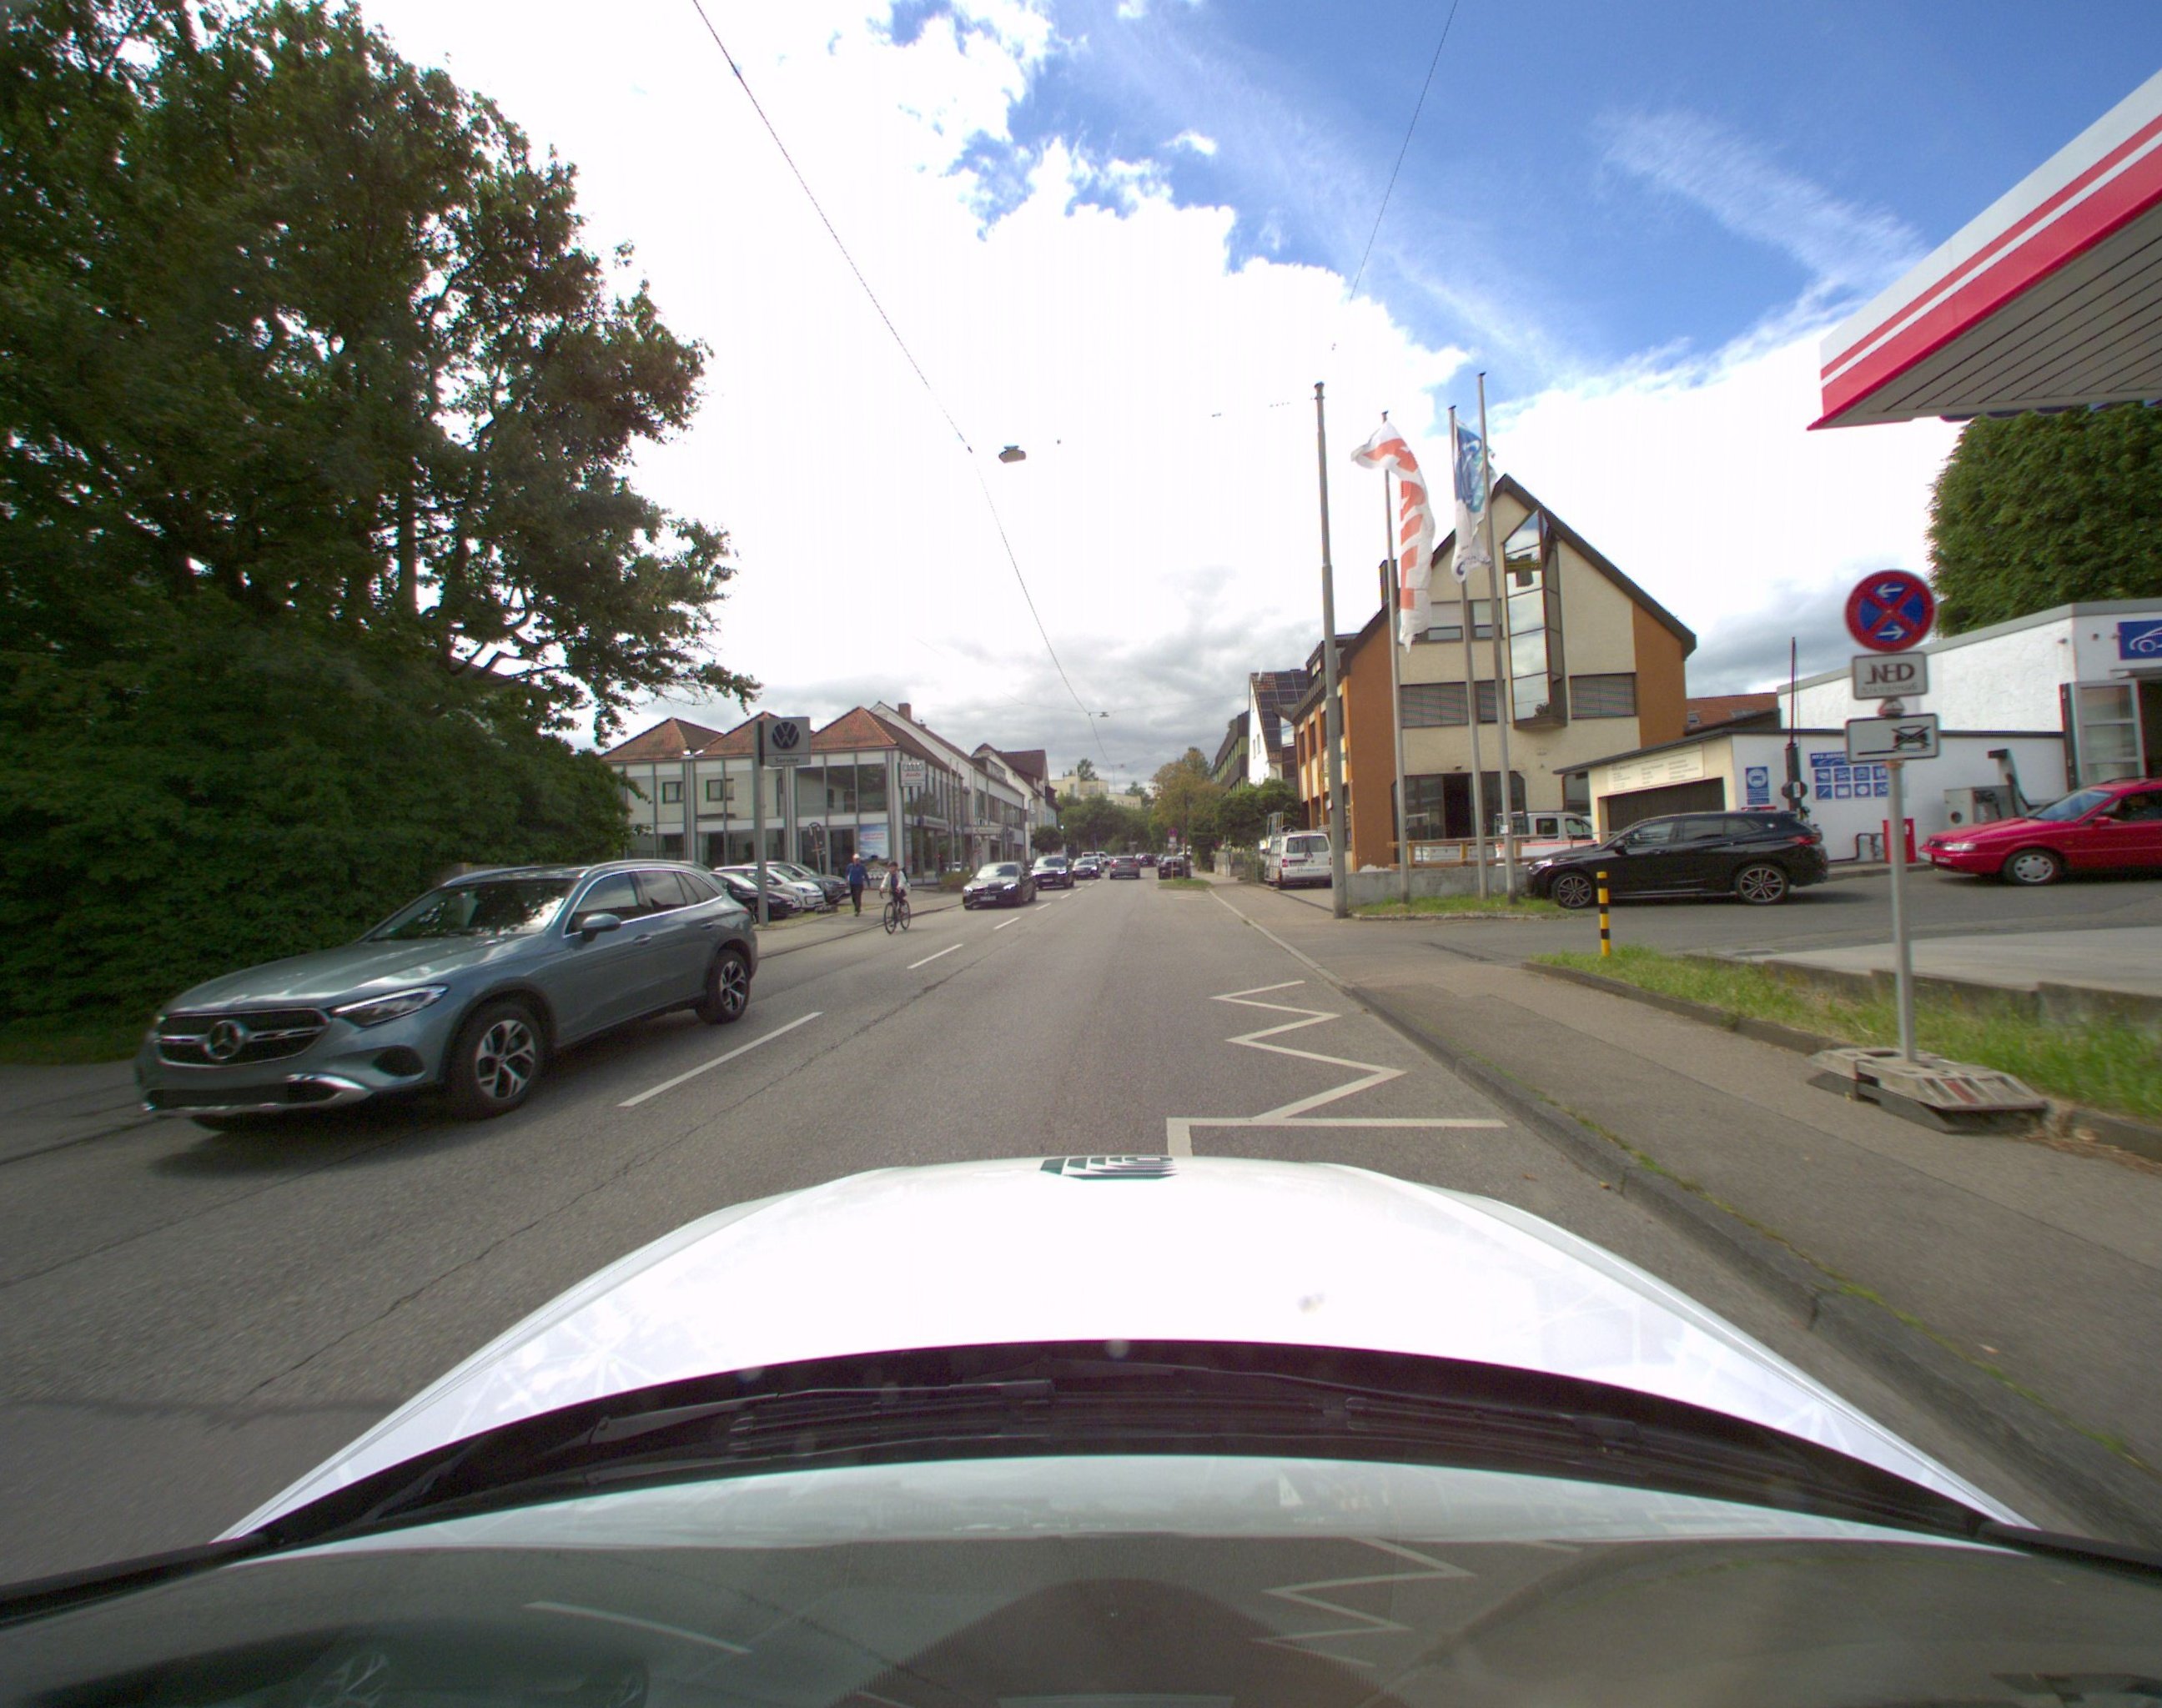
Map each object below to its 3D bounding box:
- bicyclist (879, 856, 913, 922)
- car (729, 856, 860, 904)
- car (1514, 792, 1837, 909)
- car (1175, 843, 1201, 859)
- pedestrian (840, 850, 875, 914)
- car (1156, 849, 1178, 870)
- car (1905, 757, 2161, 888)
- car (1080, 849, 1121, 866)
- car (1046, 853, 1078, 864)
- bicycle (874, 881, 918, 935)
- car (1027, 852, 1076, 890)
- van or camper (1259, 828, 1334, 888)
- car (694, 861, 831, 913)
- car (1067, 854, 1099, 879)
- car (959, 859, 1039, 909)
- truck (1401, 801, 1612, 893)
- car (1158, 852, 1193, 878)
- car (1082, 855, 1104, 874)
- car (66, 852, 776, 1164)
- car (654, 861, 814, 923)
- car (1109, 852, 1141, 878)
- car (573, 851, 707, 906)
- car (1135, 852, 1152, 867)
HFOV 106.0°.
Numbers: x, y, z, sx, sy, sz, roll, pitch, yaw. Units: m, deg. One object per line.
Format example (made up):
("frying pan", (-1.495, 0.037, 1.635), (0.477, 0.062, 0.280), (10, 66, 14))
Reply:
("bicyclist", (-4.251, 0.796, 18.789), (0.467, 1.449, 0.865), (-4, -1, 2))
("car", (-10.042, 0.886, 28.730), (3.996, 1.630, 1.655), (0, 0, 3))
("car", (10.235, -0.008, 14.303), (4.263, 1.630, 1.646), (-6, -1, 40))
("car", (17.594, -0.479, 134.240), (2.043, 2.353, 5.217), (-5, 0, 32))
("pedestrian", (-6.251, 0.780, 22.833), (0.679, 1.737, 0.869), (-1, -1, 4))
("car", (7.411, 0.518, 69.832), (1.681, 1.666, 4.470), (-3, -1, 7))
("car", (15.848, -0.534, 12.228), (4.548, 1.716, 1.838), (-4, 3, 33))
("car", (2.681, 0.477, 113.541), (5.167, 1.993, 2.119), (-4, -1, 21))
("car", (-2.565, 0.606, 111.999), (3.985, 1.413, 1.824), (-2, -2, 17))
("bicycle", (-4.209, 1.205, 18.662), (0.452, 1.087, 1.871), (-4, -1, 2))
("car", (-1.392, 0.781, 39.719), (1.823, 1.630, 4.326), (-3, 0, 4))
("van or camper", (7.891, 0.166, 30.225), (1.858, 2.032, 4.552), (-1, -1, 4))
("car", (-10.077, 1.025, 25.902), (3.724, 1.560, 1.536), (0, 0, 3))
("car", (0.171, 0.820, 54.029), (1.824, 1.523, 4.173), (-3, -1, 2))
("car", (-2.620, 0.932, 27.135), (1.732, 1.429, 4.531), (-3, -1, 5))
("truck", (12.567, -0.220, 24.387), (5.063, 2.457, 2.360), (-2, 1, 4))
("car", (5.827, 0.690, 50.625), (1.975, 1.448, 4.758), (-3, -1, 5))
("car", (1.119, 0.961, 74.342), (1.682, 1.579, 3.804), (-3, -1, 4))
("car", (-4.513, 0.857, 6.750), (1.857, 1.618, 4.541), (-3, 0, 5))
("car", (-9.799, 1.045, 23.152), (3.724, 1.518, 1.730), (-2, 0, 3))
("car", (2.872, 0.724, 52.275), (1.947, 1.523, 4.333), (-2, -2, 4))
("car", (-14.436, 0.742, 26.968), (1.798, 1.585, 4.333), (1, 1, 5))
("car", (6.786, 0.610, 88.447), (1.608, 1.523, 3.571), (-3, -1, 2))
